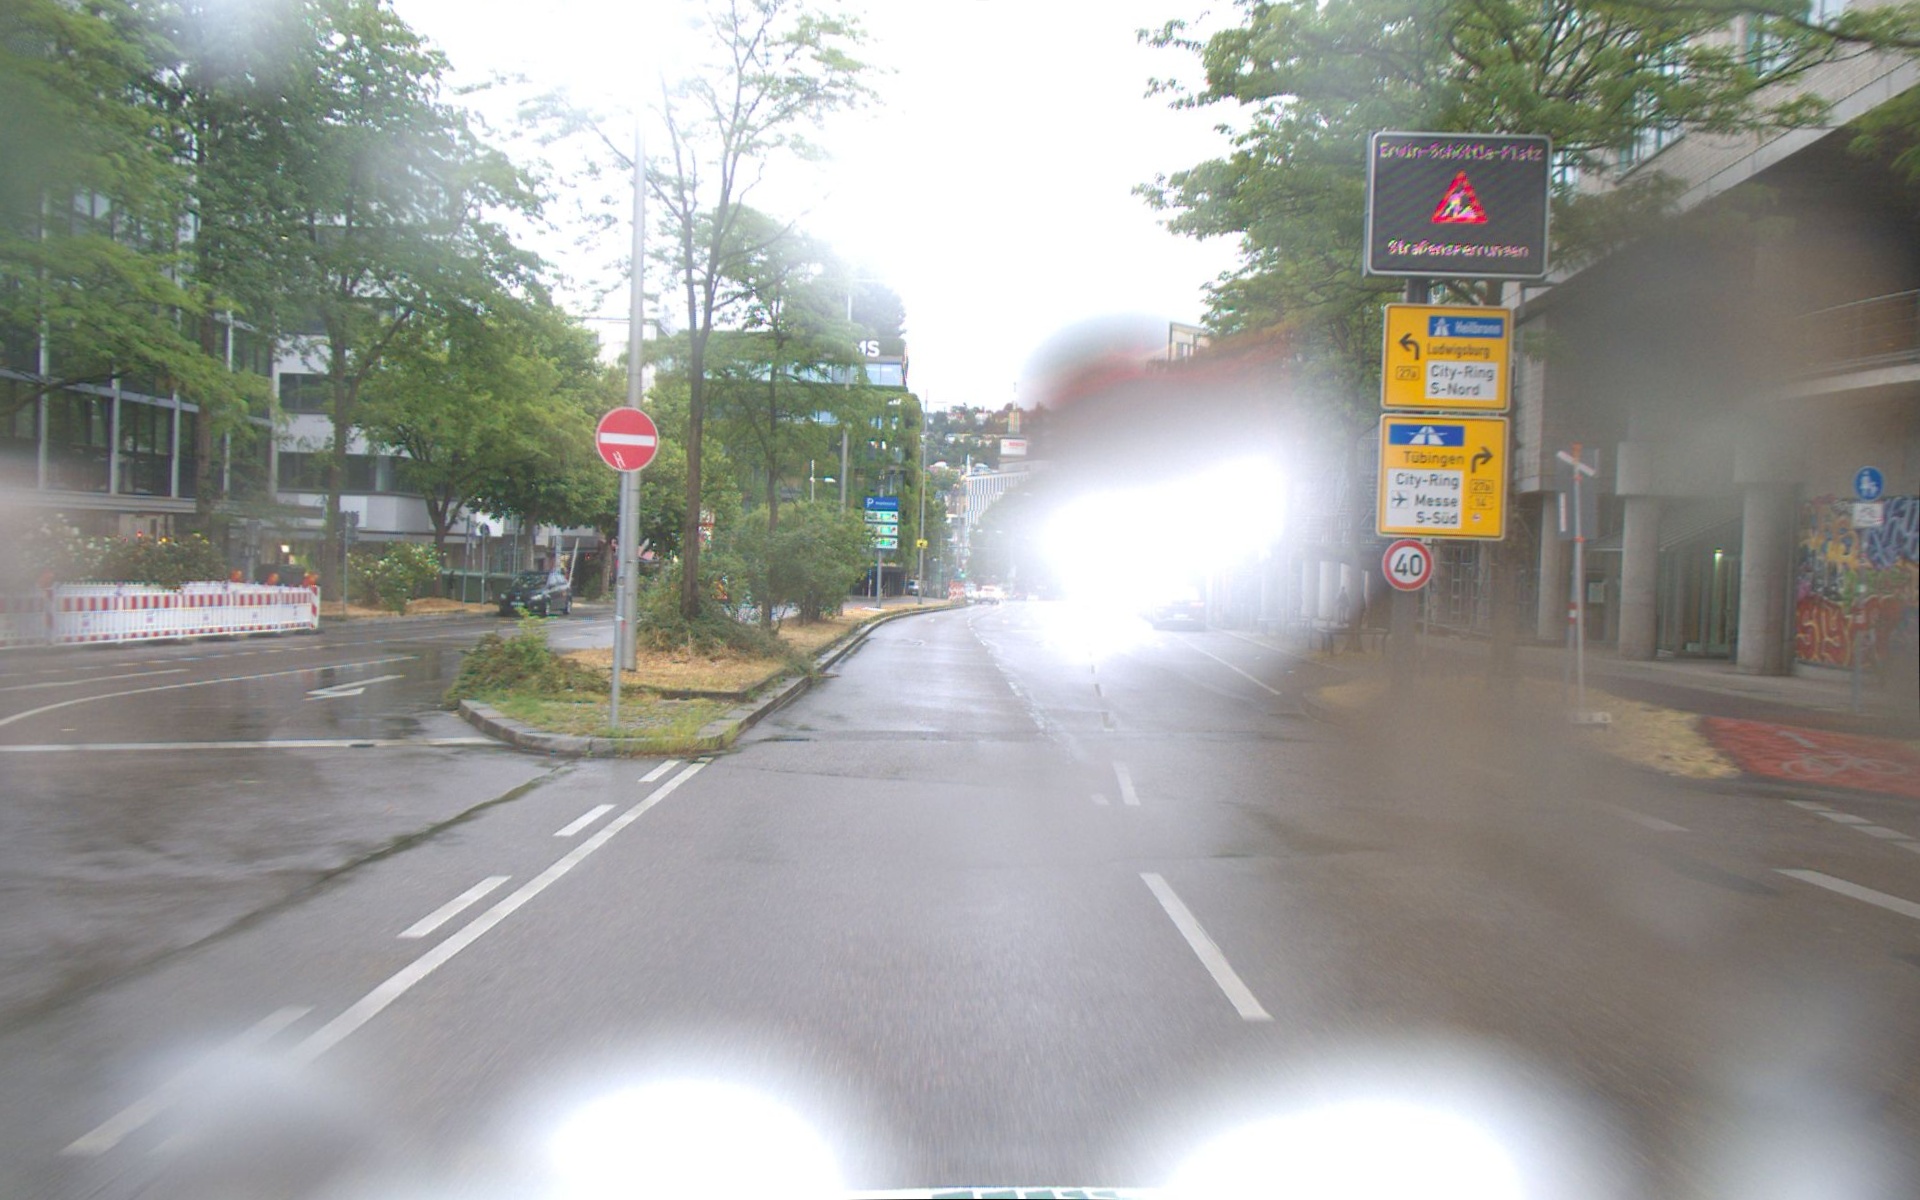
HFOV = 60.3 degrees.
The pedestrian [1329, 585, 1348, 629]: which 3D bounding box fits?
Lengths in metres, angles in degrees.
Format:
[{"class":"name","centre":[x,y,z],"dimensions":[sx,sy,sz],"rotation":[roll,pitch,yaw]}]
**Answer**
[{"class":"pedestrian","centre":[16.884,0.326,73.840],"dimensions":[0.759,1.954,0.703],"rotation":[1,-1,9]}]

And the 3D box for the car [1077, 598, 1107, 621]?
[{"class":"car","centre":[10.616,0.770,133.277],"dimensions":[1.953,1.754,3.998],"rotation":[1,-1,-2]}]

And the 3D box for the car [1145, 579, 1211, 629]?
[{"class":"car","centre":[8.014,0.139,61.044],"dimensions":[2.289,1.721,4.003],"rotation":[1,0,6]}]

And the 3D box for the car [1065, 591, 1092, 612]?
[{"class":"car","centre":[10.331,0.149,144.476],"dimensions":[1.953,1.766,3.999],"rotation":[1,-1,-1]}]

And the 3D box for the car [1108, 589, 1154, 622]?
[{"class":"car","centre":[8.204,0.242,79.658],"dimensions":[1.807,1.518,4.000],"rotation":[1,0,0]}]

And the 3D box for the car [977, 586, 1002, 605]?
[{"class":"car","centre":[2.738,-0.420,153.201],"dimensions":[1.793,1.668,4.295],"rotation":[3,-1,-6]}]

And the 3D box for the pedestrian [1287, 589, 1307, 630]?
[{"class":"pedestrian","centre":[16.243,0.473,79.734],"dimensions":[0.759,1.954,0.702],"rotation":[1,-1,-2]}]
